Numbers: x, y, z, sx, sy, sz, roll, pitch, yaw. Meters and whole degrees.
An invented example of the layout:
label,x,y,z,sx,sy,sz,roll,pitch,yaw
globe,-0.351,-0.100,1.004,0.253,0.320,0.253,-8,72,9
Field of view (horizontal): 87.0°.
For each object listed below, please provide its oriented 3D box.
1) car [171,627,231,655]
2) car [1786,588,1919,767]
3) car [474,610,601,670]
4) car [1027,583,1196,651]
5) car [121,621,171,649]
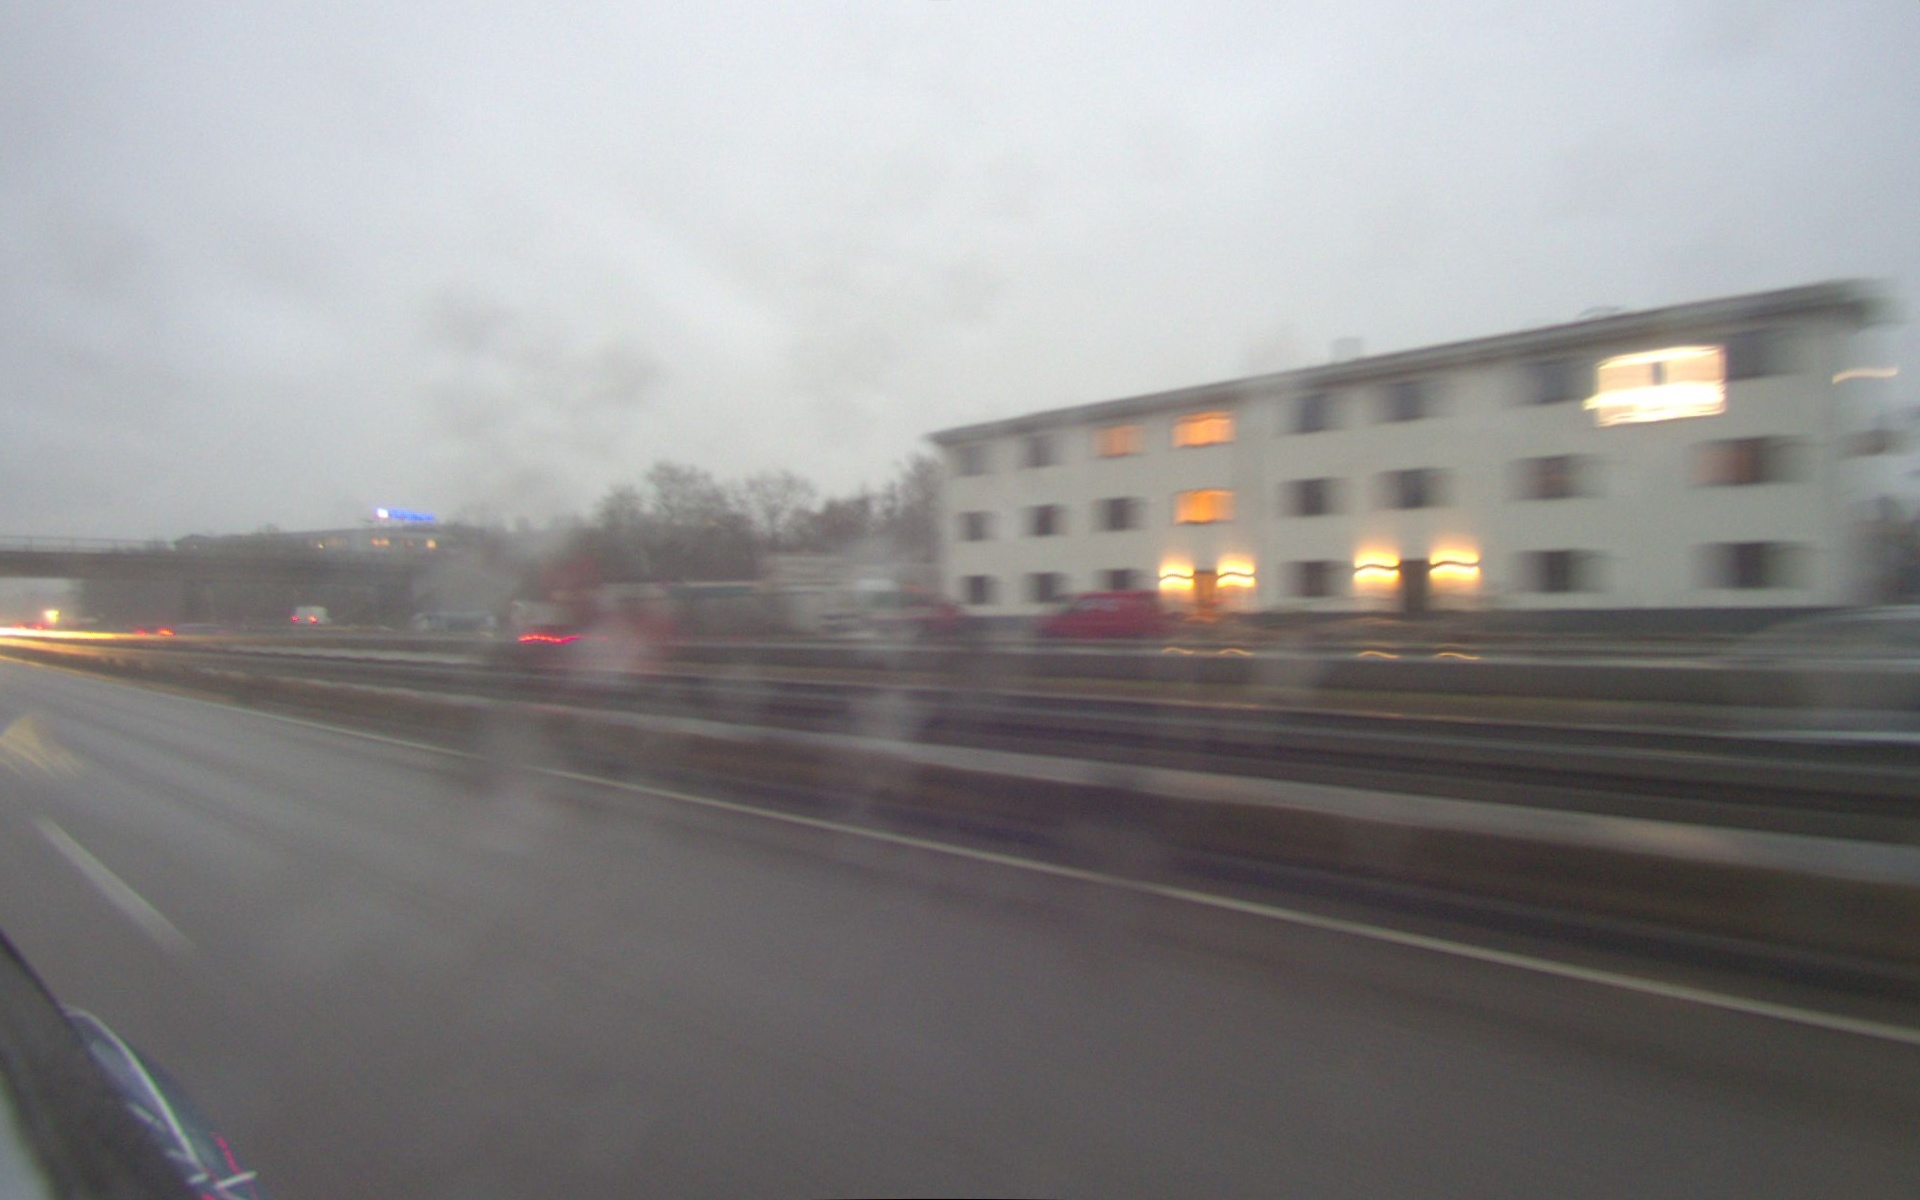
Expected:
label,x,y,z,sx,sy,sz,roll,pitch,yaw
car,-34.458,1.840,45.907,3.797,1.196,1.443,-1,0,41
car,9.581,0.636,8.531,3.998,1.519,1.718,-1,0,41
car,-11.925,1.083,28.462,3.998,1.519,1.718,-1,0,41
car,4.798,0.549,32.457,4.955,2.029,2.134,-2,0,39
car,-49.933,2.113,62.054,3.999,1.603,1.705,-1,1,42
